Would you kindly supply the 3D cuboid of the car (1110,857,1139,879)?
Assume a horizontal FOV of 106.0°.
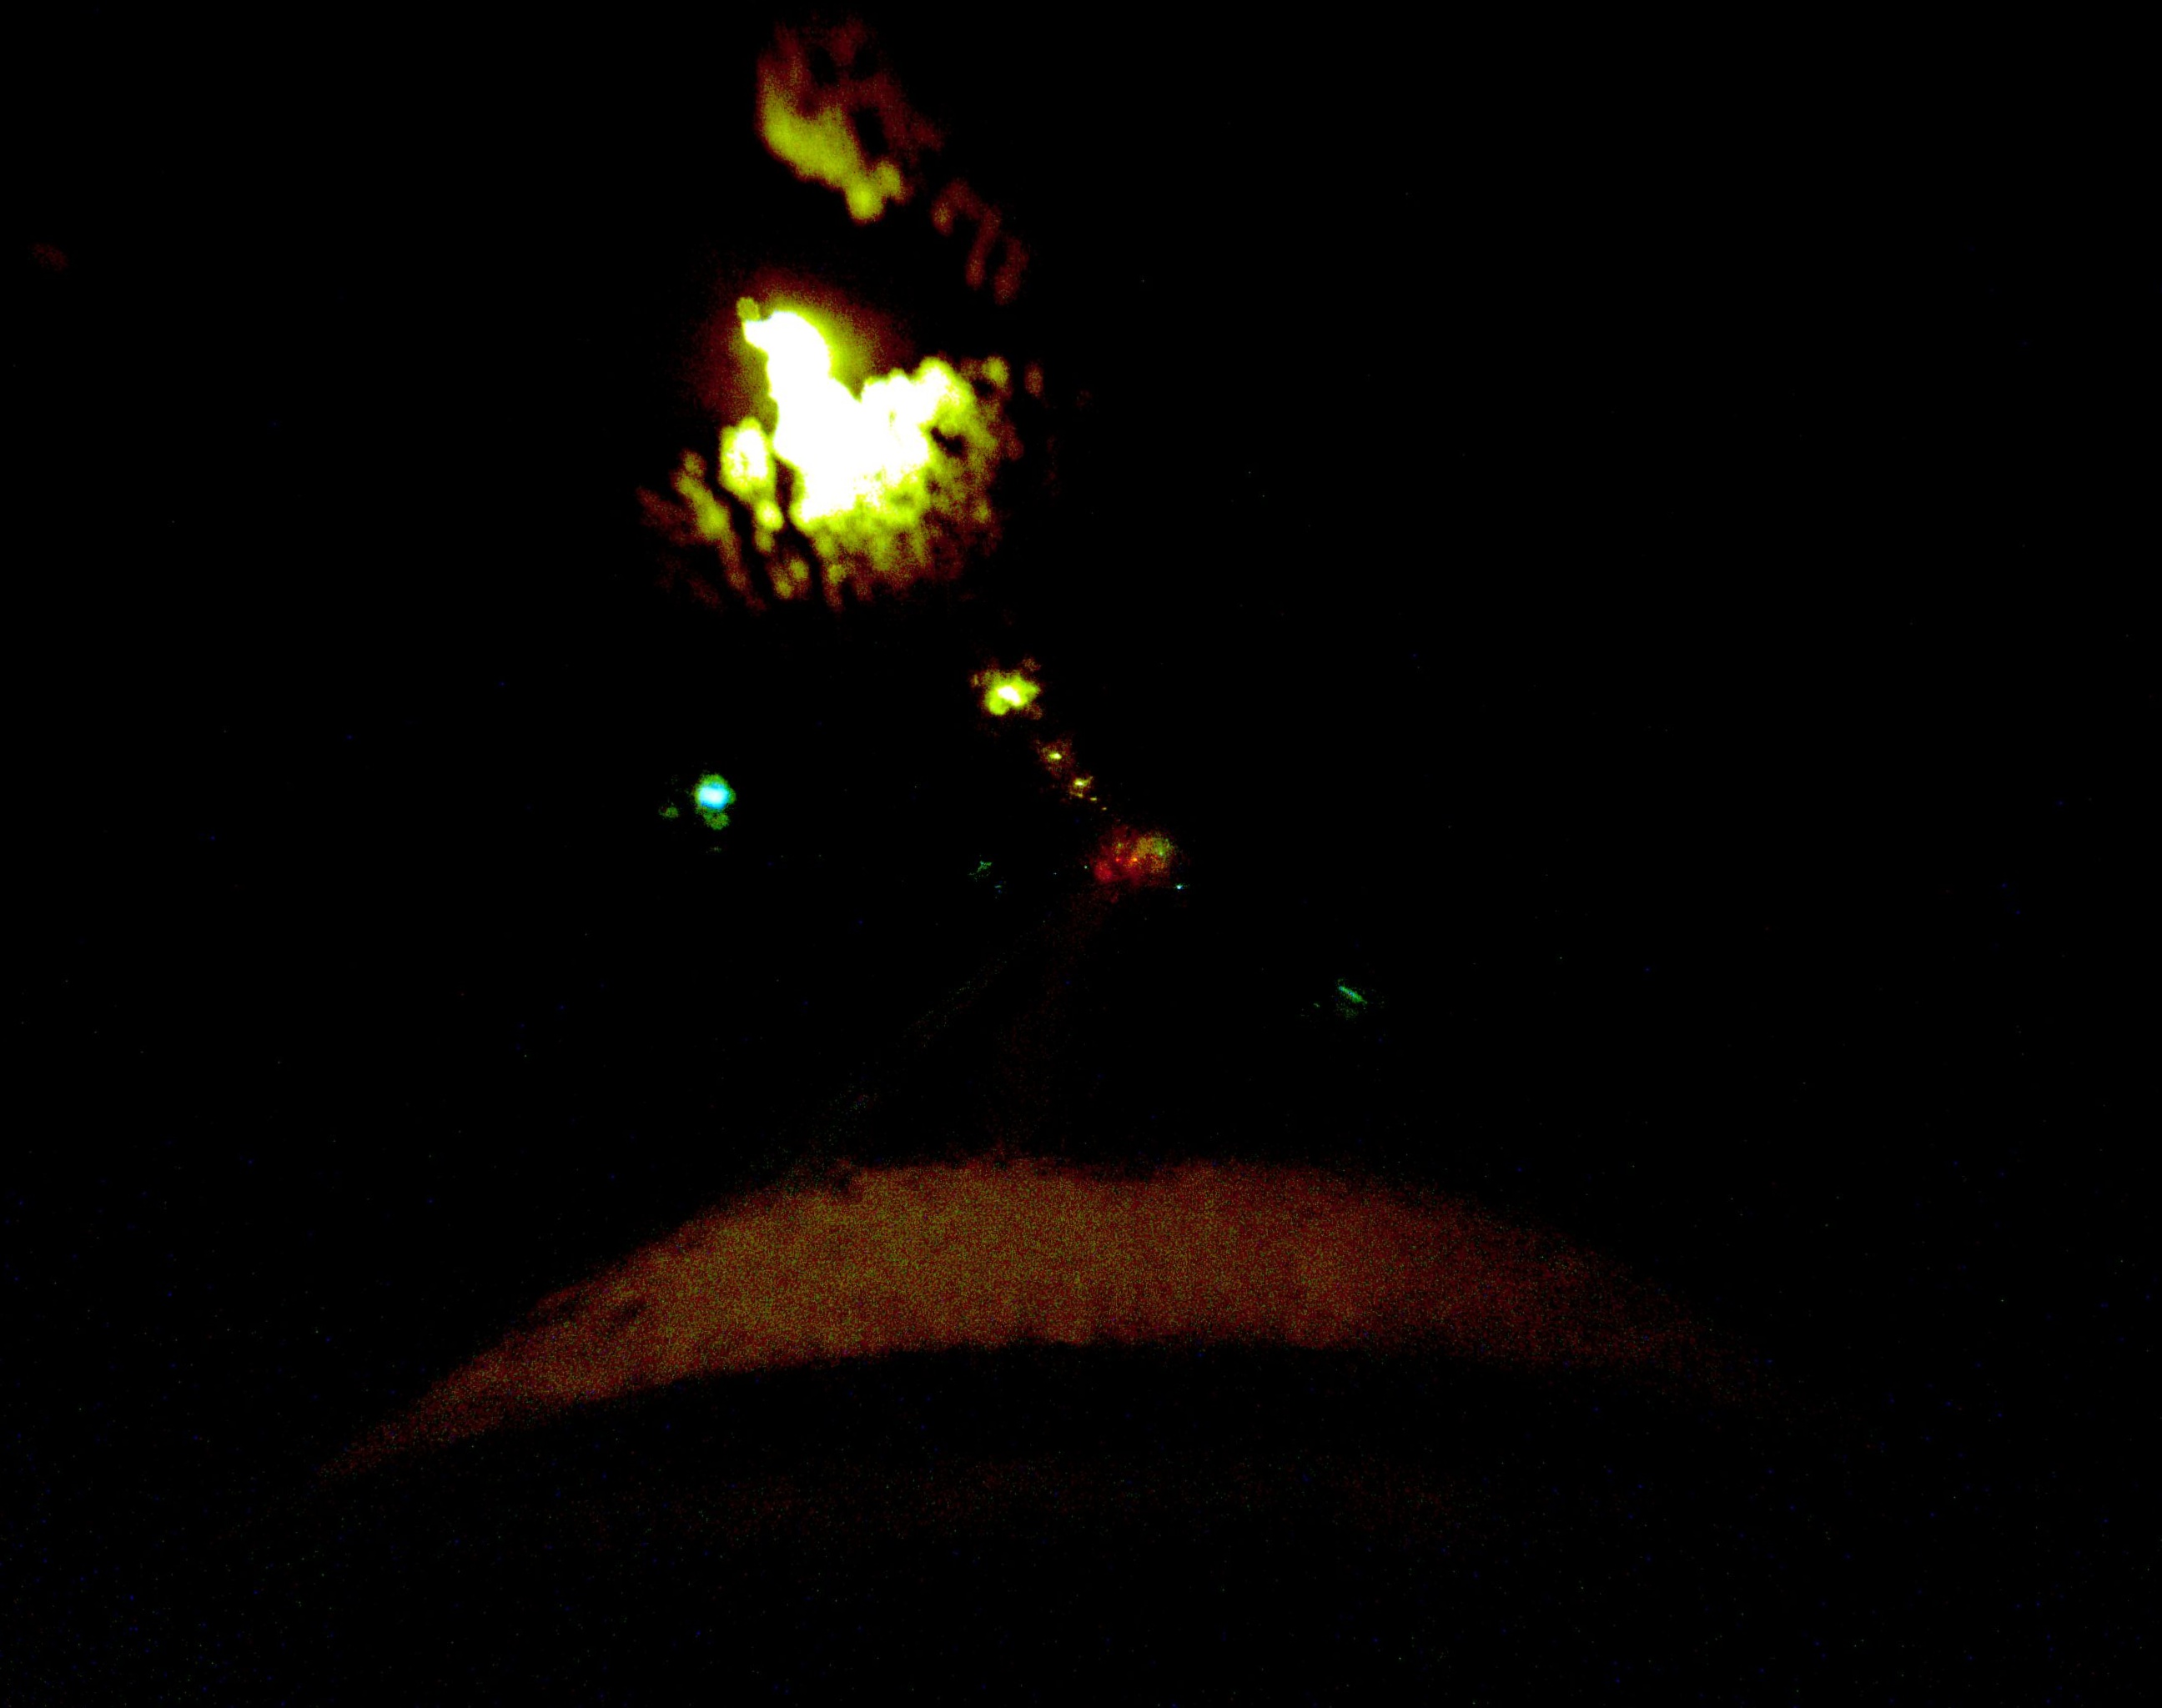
[{"bbox_3d":[3.390,1.048,62.398,2.080,1.662,4.005,-1,-1,5],"label":"car"}]
